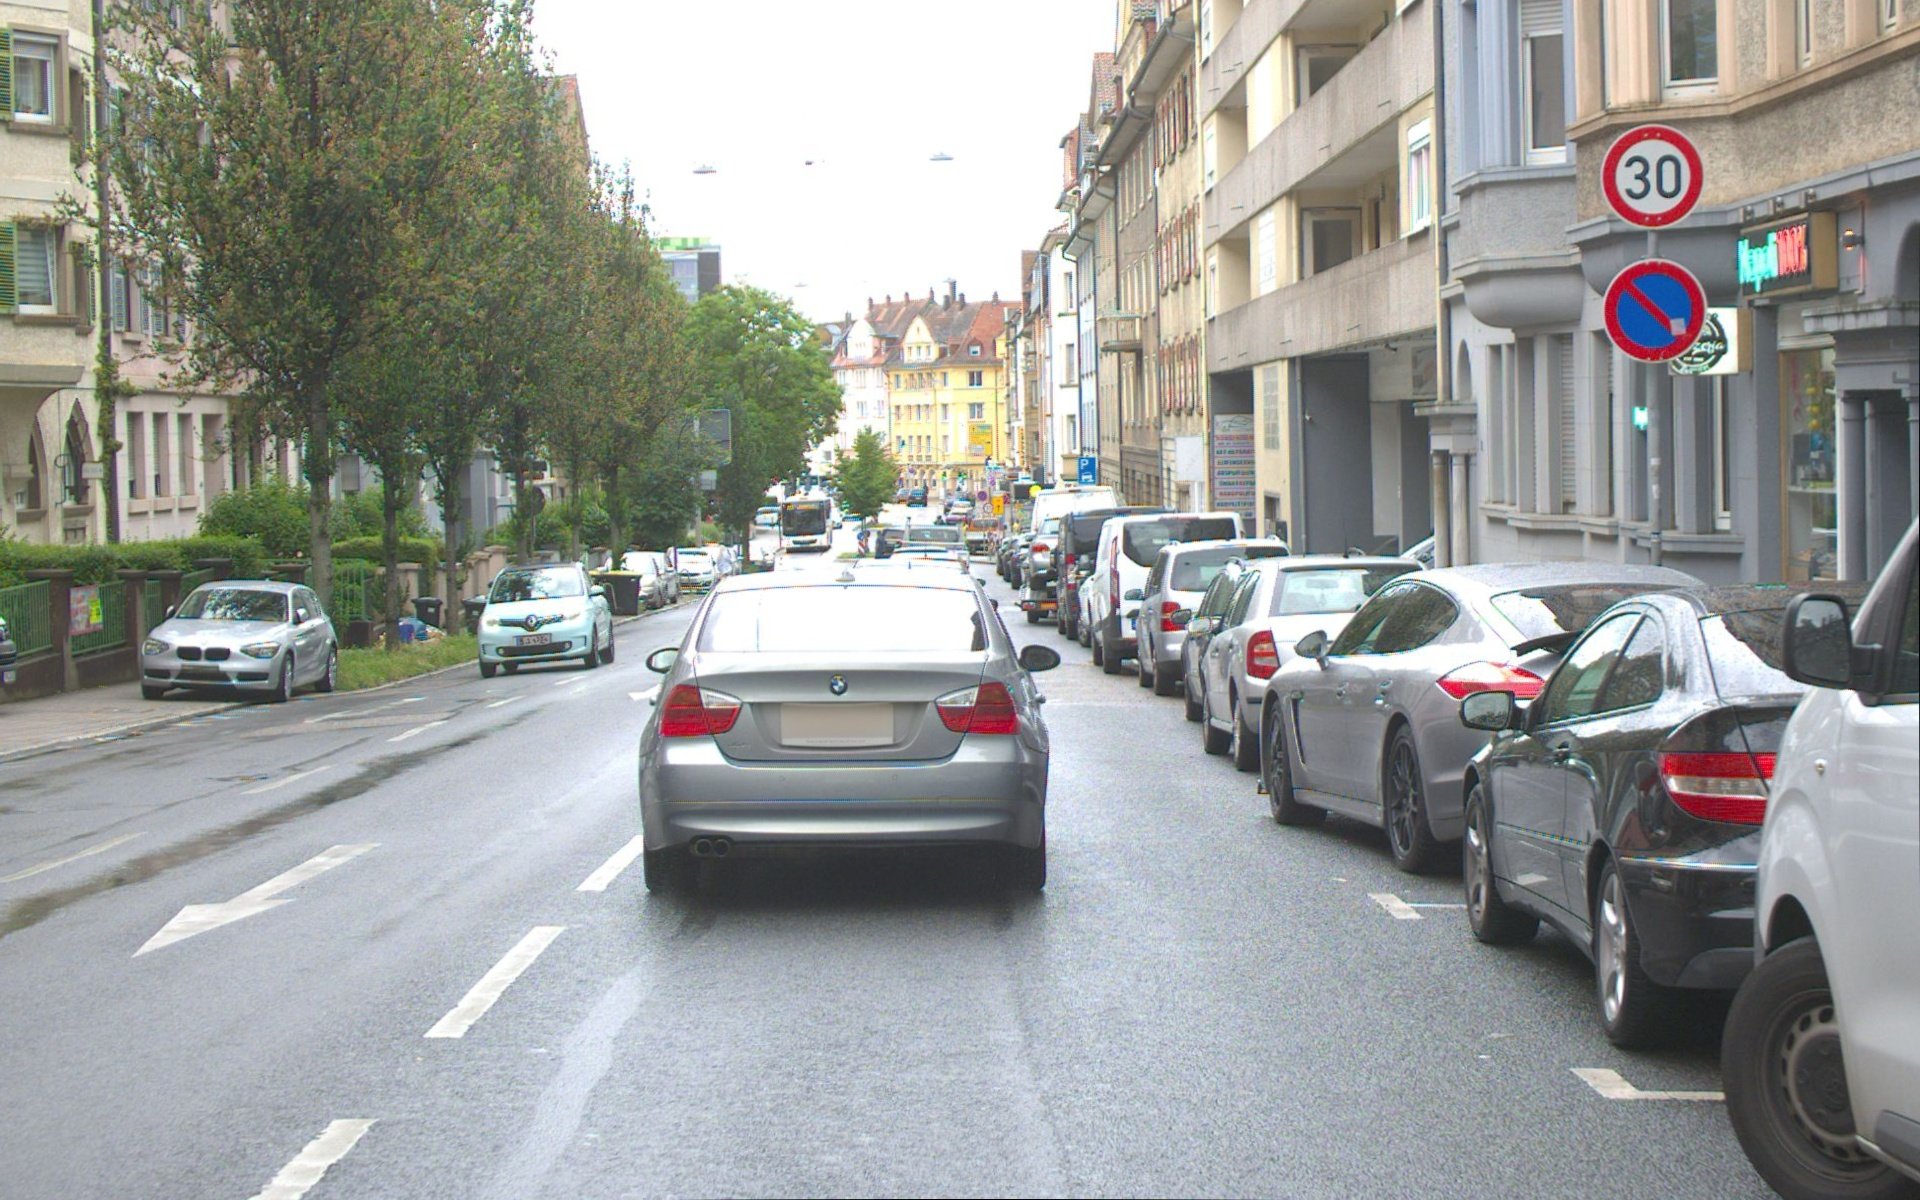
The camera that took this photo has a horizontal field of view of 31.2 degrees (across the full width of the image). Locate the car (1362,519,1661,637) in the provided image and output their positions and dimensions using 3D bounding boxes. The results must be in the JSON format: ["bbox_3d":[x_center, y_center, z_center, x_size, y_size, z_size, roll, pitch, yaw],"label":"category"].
[{"bbox_3d":[8.215,-0.333,51.110,4.289,1.635,1.666,-1,3,13],"label":"car"}]

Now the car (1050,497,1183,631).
[{"bbox_3d":[2.659,-0.633,59.353,1.982,2.158,4.750,-2,1,0],"label":"car"}]

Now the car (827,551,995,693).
[{"bbox_3d":[-0.478,0.201,36.775,1.682,1.423,3.741,1,1,1],"label":"car"}]

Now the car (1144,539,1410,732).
[{"bbox_3d":[2.737,0.256,30.685,1.900,1.473,4.798,-4,1,1],"label":"car"}]

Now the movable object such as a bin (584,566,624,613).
[{"bbox_3d":[-8.843,-0.262,85.345,0.902,1.164,0.895,0,1,0],"label":"movable object such as a bin"}]

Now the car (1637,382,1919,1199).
[{"bbox_3d":[2.770,0.476,6.270,1.919,1.821,5.009,-2,1,-1],"label":"car"}]

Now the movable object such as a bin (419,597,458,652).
[{"bbox_3d":[-8.942,0.417,58.972,0.574,0.909,0.640,-2,1,-14],"label":"movable object such as a bin"}]

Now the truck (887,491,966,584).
[{"bbox_3d":[-0.923,-1.653,92.619,2.032,2.404,4.827,1,0,-1],"label":"truck"}]

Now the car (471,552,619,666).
[{"bbox_3d":[-5.989,0.101,49.947,1.636,1.503,3.755,-4,1,0],"label":"car"}]

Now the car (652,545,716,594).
[{"bbox_3d":[-9.085,-1.020,113.307,1.691,1.518,3.736,-3,1,1],"label":"car"}]

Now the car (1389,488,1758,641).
[{"bbox_3d":[7.732,-0.451,43.243,4.329,1.798,2.005,0,3,18],"label":"car"}]

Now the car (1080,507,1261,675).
[{"bbox_3d":[2.684,-0.145,44.724,1.982,2.000,4.625,-2,1,0],"label":"car"}]

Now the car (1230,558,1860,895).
[{"bbox_3d":[2.748,0.529,17.376,1.875,1.462,4.776,0,1,-6],"label":"car"}]

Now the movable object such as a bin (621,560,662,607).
[{"bbox_3d":[-7.901,-0.408,85.357,0.935,1.164,0.909,0,1,0],"label":"movable object such as a bin"}]

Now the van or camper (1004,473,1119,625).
[{"bbox_3d":[2.121,-1.047,69.939,2.033,2.859,6.884,2,1,3],"label":"van or camper"}]

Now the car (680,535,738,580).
[{"bbox_3d":[-8.938,-1.525,122.616,1.691,1.518,3.736,-3,1,1],"label":"car"}]

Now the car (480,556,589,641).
[{"bbox_3d":[-8.717,-0.058,70.689,1.766,1.588,4.000,-3,1,-1],"label":"car"}]

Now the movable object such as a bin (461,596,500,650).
[{"bbox_3d":[-8.243,0.392,59.083,0.574,0.909,0.640,-2,1,-14],"label":"movable object such as a bin"}]

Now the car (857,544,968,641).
[{"bbox_3d":[-0.770,-0.133,54.948,1.697,1.478,3.794,1,0,-1],"label":"car"}]

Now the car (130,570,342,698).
[{"bbox_3d":[-8.952,0.386,42.783,1.726,1.478,3.989,1,0,1],"label":"car"}]

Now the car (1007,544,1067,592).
[{"bbox_3d":[2.407,-1.004,107.891,1.697,1.478,3.975,1,0,-1],"label":"car"}]

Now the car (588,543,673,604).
[{"bbox_3d":[-8.904,-0.732,93.111,1.827,1.518,3.736,-3,1,1],"label":"car"}]

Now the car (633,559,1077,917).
[{"bbox_3d":[-0.551,0.539,15.674,1.769,1.423,3.741,1,0,-4],"label":"car"}]

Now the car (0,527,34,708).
[{"bbox_3d":[-12.858,0.248,37.642,4.829,1.967,2.048,-2,1,0],"label":"car"}]

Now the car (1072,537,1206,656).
[{"bbox_3d":[2.671,-0.081,52.050,1.726,1.664,4.288,-2,1,0],"label":"car"}]

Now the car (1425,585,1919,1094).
[{"bbox_3d":[2.723,0.657,11.682,1.677,1.370,4.276,0,1,0],"label":"car"}]

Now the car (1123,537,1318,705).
[{"bbox_3d":[2.818,0.188,37.987,1.726,1.664,4.288,-3,1,0],"label":"car"}]

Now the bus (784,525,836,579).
[{"bbox_3d":[-8.719,-2.824,200.428,2.668,3.014,7.671,-2,1,0],"label":"bus"}]

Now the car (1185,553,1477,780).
[{"bbox_3d":[2.561,0.408,24.521,1.611,1.469,4.016,0,1,0],"label":"car"}]
